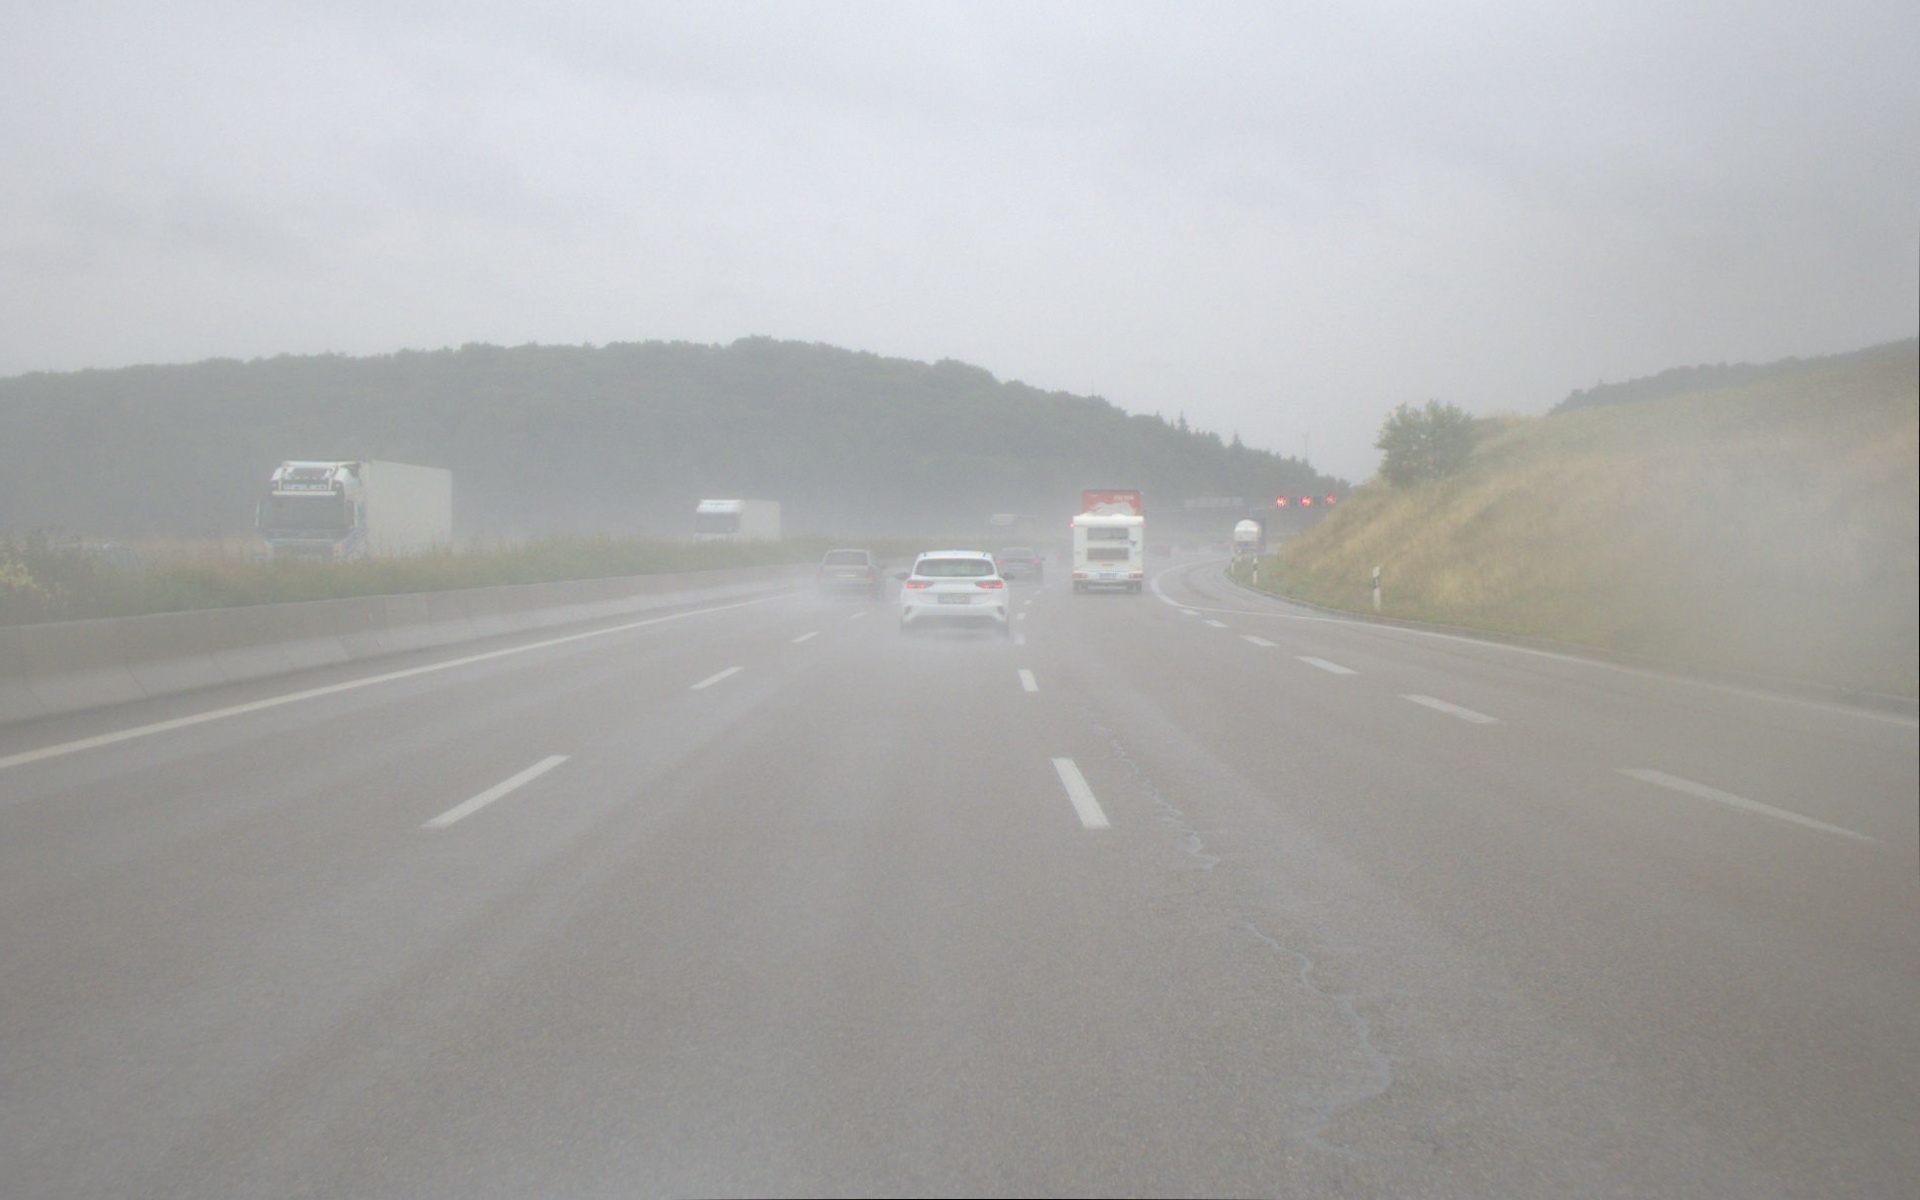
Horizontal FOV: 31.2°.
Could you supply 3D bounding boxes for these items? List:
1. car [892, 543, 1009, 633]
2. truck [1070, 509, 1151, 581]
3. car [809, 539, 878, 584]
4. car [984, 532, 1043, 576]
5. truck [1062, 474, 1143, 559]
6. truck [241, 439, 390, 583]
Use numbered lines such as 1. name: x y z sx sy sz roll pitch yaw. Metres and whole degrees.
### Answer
1. car: -0.188 -0.206 57.504 1.867 1.458 4.000 0 0 -1
2. truck: 4.795 -1.778 110.241 2.408 2.244 4.693 0 1 0
3. car: -3.176 -1.035 93.985 1.823 1.152 4.213 1 0 -2
4. car: 1.969 -1.702 126.812 1.993 1.612 4.000 0 1 -2
5. truck: 6.505 -3.895 158.492 3.527 3.730 11.426 1 2 2
6. truck: -18.308 -2.512 97.968 2.953 3.980 6.217 0 1 1
